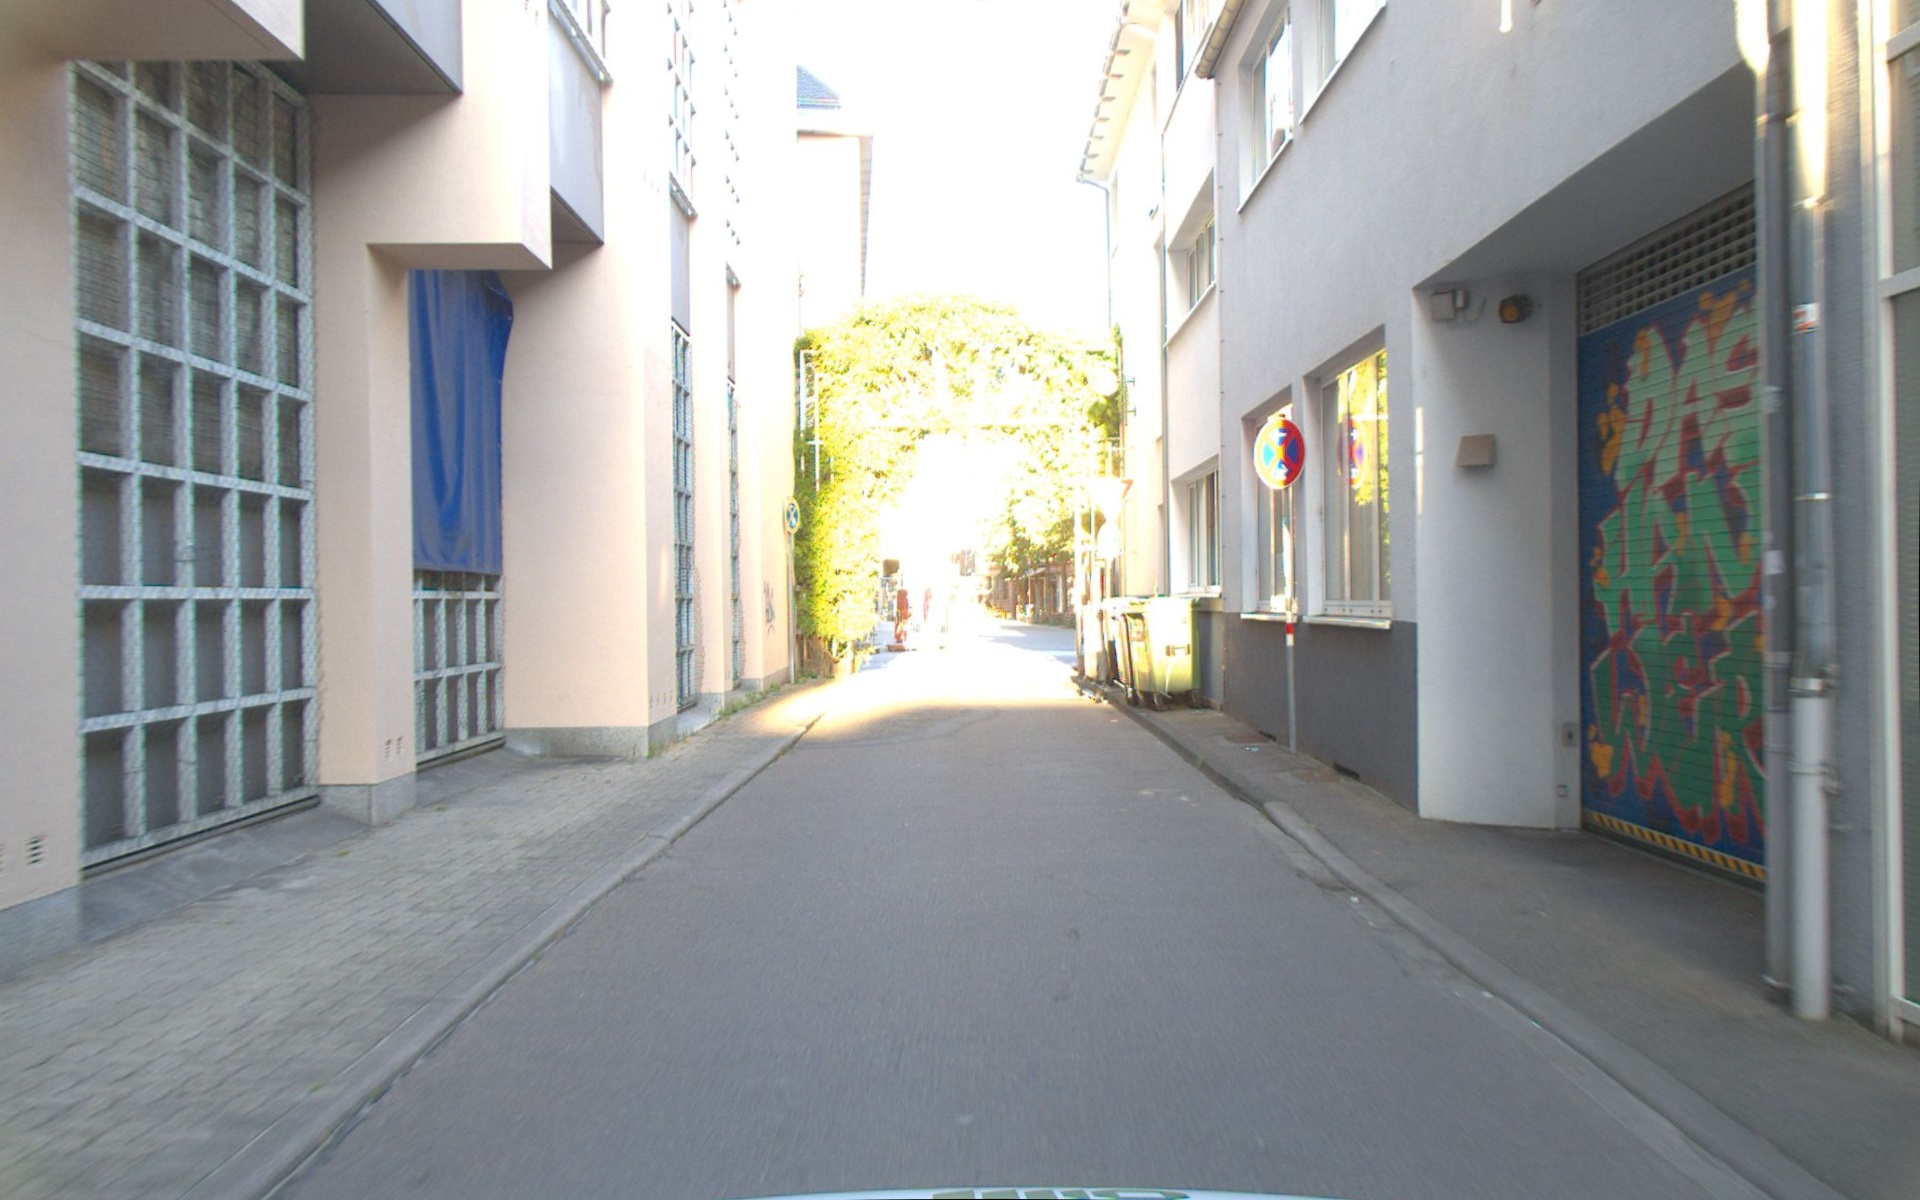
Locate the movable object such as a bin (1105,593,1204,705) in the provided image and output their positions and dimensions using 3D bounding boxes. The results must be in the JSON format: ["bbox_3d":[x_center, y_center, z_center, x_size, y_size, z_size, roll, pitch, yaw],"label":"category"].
[{"bbox_3d":[2.575,0.632,22.049,1.043,1.390,1.341,-3,0,-2],"label":"movable object such as a bin"}]

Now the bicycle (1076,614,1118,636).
[{"bbox_3d":[7.194,1.330,86.604,2.107,1.080,0.591,-2,-1,13],"label":"bicycle"}]

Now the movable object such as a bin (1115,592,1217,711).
[{"bbox_3d":[2.551,0.625,20.644,0.919,1.390,1.340,-3,0,-6],"label":"movable object such as a bin"}]

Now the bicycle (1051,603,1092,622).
[{"bbox_3d":[6.046,0.692,89.740,2.113,0.942,0.589,-1,-1,-9],"label":"bicycle"}]

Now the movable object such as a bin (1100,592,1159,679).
[{"bbox_3d":[2.732,0.555,26.701,0.818,1.327,1.290,-3,0,3],"label":"movable object such as a bin"}]
